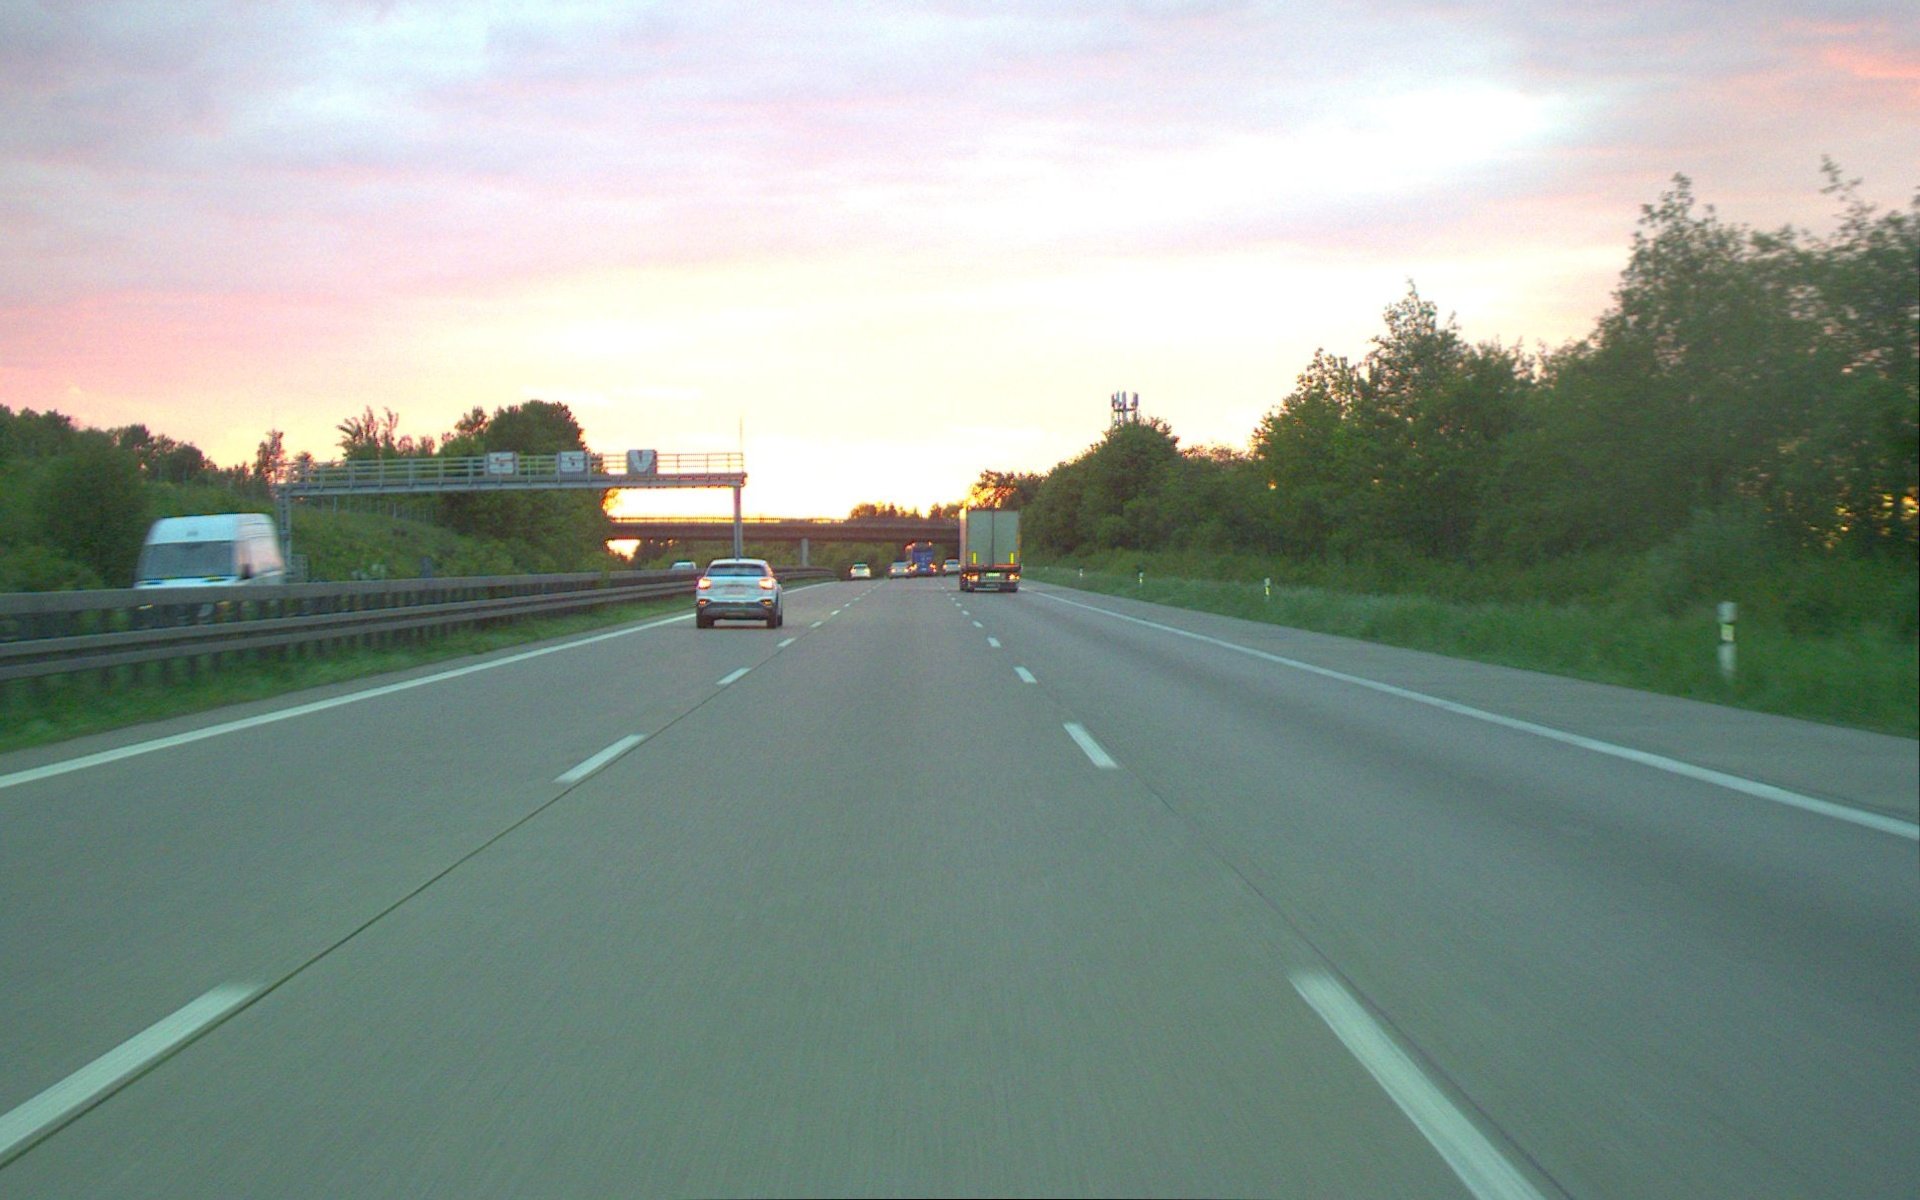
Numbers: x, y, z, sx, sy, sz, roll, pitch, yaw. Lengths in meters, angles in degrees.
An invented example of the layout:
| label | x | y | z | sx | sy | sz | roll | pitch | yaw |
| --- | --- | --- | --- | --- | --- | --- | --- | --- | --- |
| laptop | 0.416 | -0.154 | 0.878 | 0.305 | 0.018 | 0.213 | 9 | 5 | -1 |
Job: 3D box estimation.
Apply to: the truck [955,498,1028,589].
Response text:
| label | x | y | z | sx | sy | sz | roll | pitch | yaw |
| --- | --- | --- | --- | --- | --- | --- | --- | --- | --- |
| truck | 1.464 | -2.658 | 162.726 | 3.244 | 4.113 | 9.786 | -1 | 1 | 0 |

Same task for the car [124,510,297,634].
| label | x | y | z | sx | sy | sz | roll | pitch | yaw |
| --- | --- | --- | --- | --- | --- | --- | --- | --- | --- |
| car | -14.599 | -0.568 | 67.326 | 1.993 | 2.279 | 6.339 | -1 | 1 | 0 |

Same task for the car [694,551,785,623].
| label | x | y | z | sx | sy | sz | roll | pitch | yaw |
| --- | --- | --- | --- | --- | --- | --- | --- | --- | --- |
| car | -4.888 | -0.322 | 76.621 | 1.789 | 1.495 | 5.038 | 1 | 1 | -1 |
